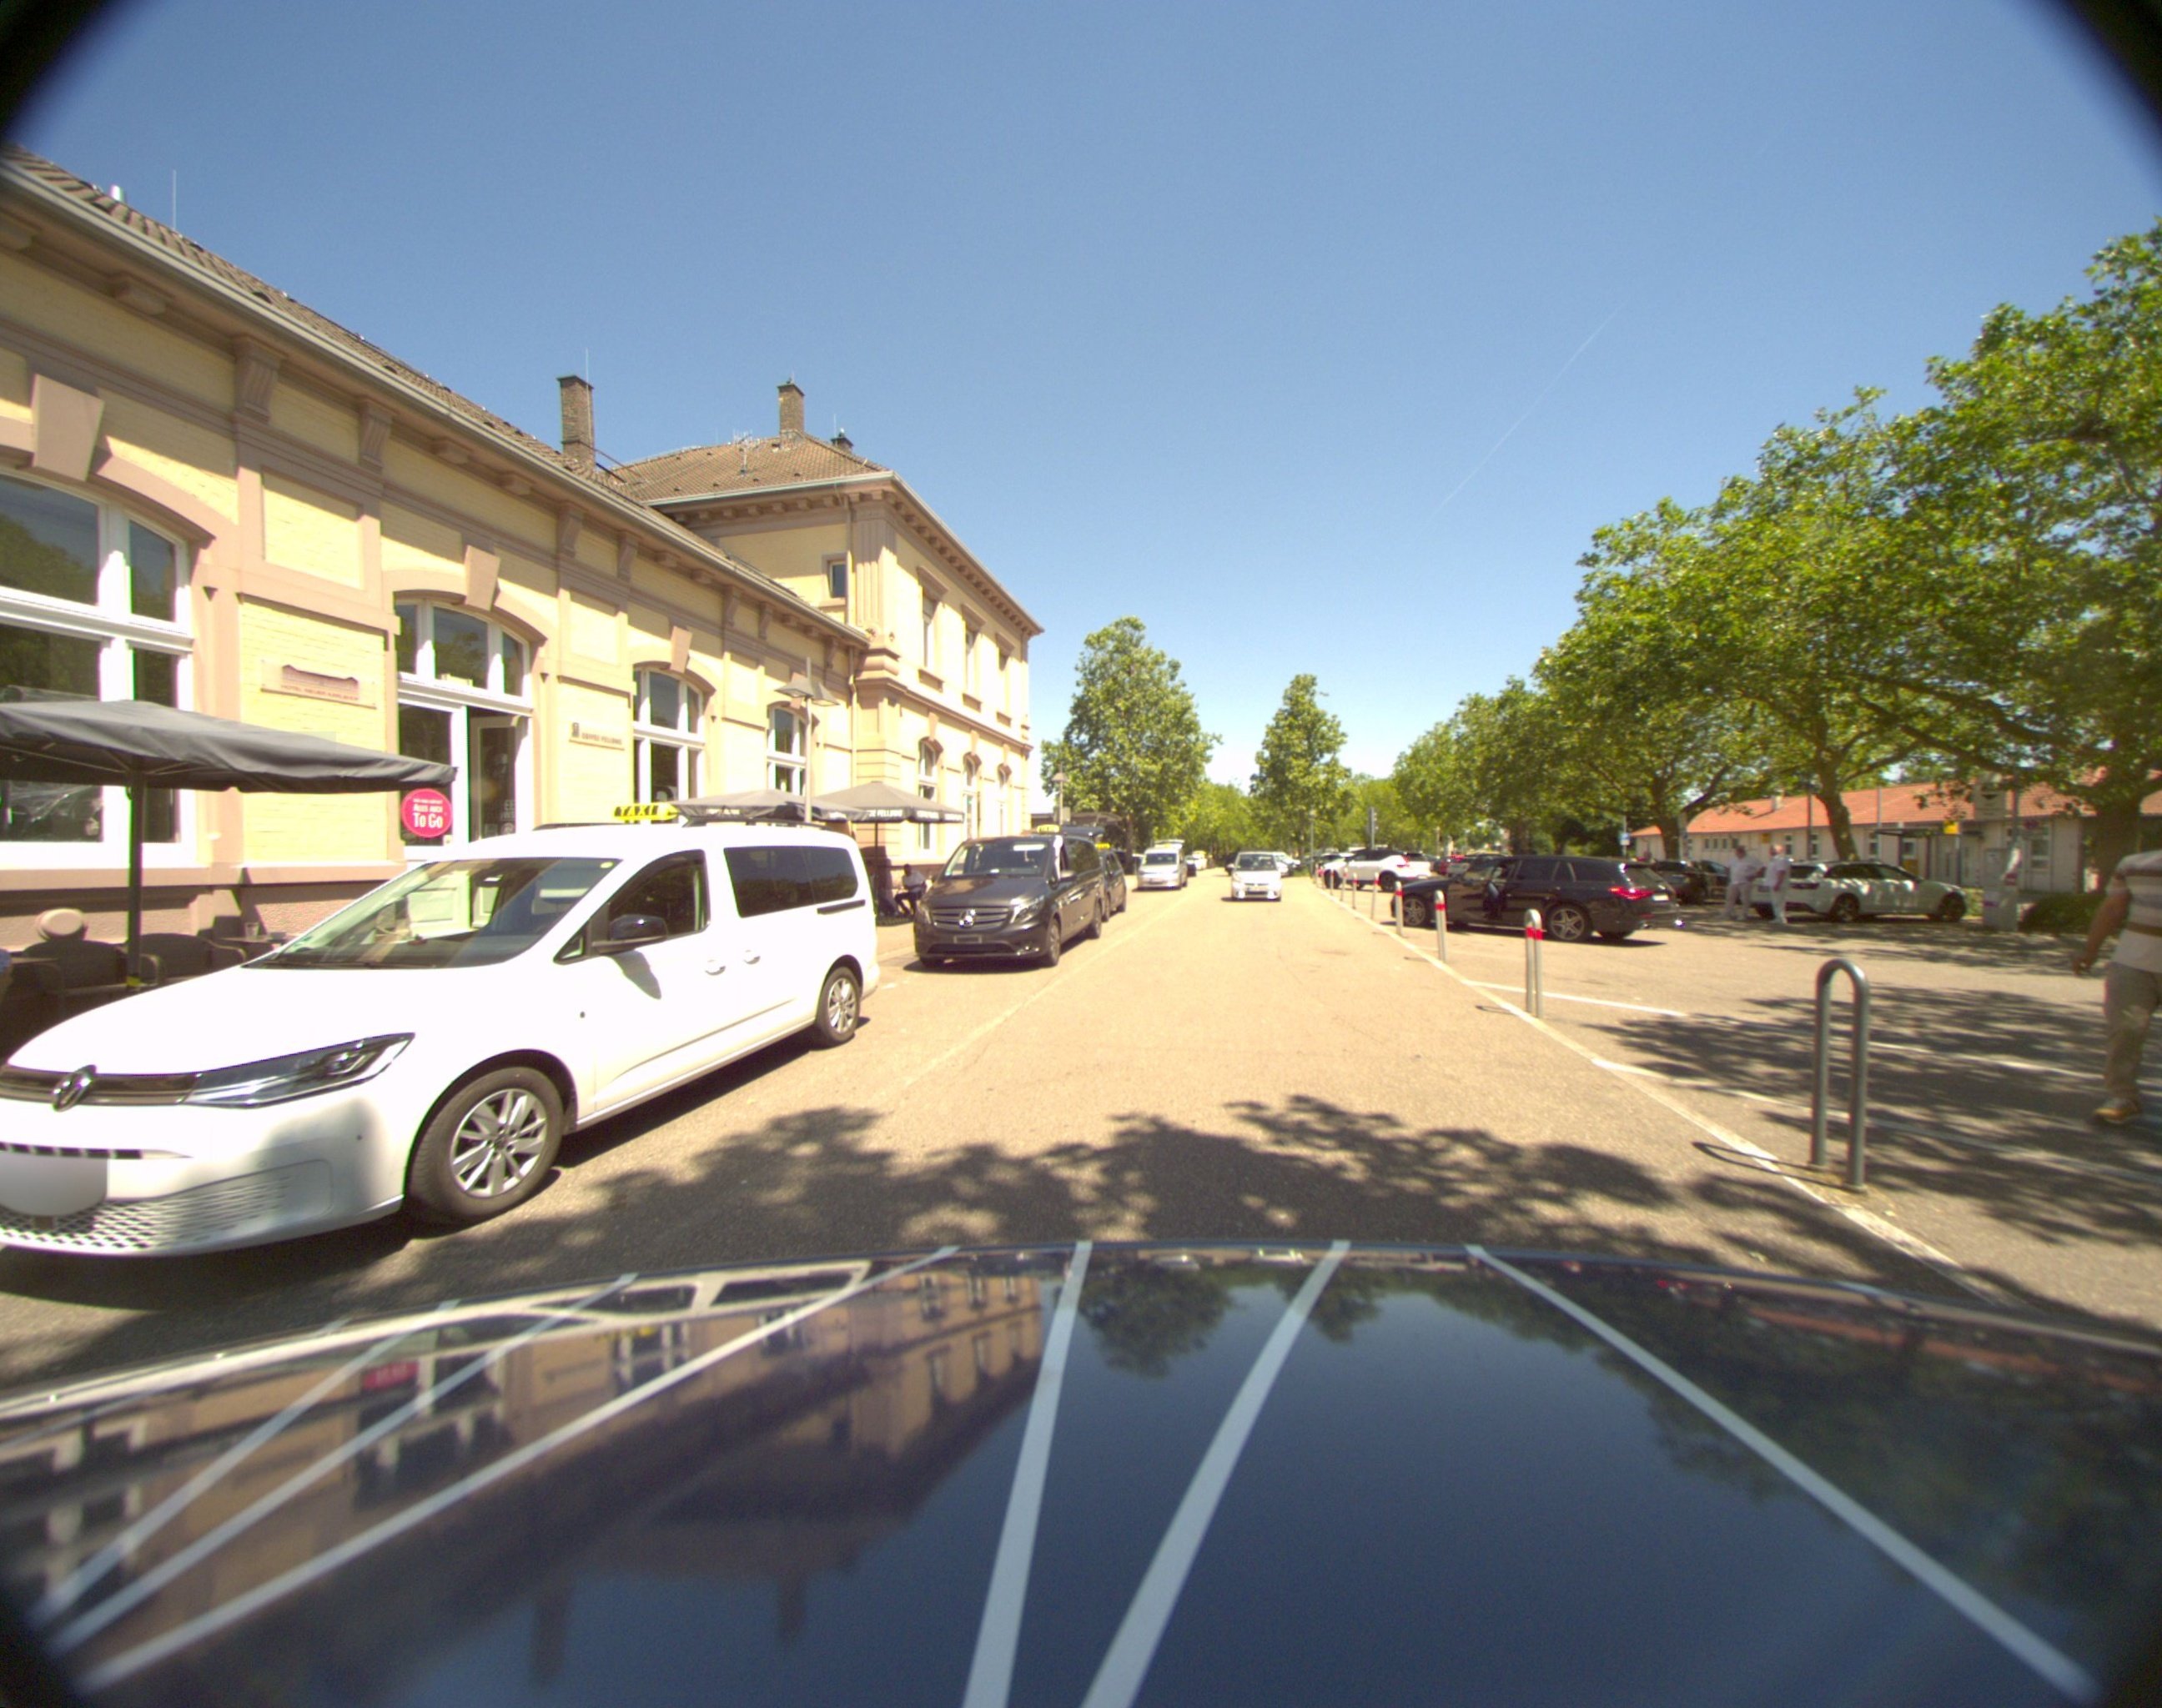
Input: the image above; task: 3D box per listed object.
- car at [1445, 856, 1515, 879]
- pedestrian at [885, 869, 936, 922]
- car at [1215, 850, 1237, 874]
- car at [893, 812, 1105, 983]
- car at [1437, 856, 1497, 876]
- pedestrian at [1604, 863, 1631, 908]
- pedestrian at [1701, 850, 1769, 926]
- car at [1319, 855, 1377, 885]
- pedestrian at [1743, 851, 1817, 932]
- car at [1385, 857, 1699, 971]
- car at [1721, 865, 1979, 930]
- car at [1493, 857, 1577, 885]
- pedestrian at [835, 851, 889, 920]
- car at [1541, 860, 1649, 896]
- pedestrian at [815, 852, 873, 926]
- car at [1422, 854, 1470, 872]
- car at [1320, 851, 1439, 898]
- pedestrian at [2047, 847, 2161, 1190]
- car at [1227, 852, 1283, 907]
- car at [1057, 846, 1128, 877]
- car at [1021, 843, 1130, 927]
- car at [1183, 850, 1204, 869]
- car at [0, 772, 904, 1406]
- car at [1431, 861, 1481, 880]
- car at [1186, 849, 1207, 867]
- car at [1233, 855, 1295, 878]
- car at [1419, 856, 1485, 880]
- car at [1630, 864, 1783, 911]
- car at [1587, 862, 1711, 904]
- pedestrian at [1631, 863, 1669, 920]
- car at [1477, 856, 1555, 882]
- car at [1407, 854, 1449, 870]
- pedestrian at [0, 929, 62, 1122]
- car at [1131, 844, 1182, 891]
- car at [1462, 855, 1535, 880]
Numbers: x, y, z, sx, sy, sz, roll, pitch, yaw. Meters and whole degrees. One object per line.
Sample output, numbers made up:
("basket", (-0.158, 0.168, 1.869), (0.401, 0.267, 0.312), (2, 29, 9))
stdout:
("car", (25.463, 0.839, 48.520), (3.879, 1.452, 1.634), (0, 1, -15))
("pedestrian", (-3.966, 0.949, 17.728), (0.850, 1.158, 0.882), (2, 1, 12))
("car", (10.329, 0.544, 54.155), (1.455, 1.660, 3.109), (0, 1, 11))
("car", (-0.954, 0.568, 12.413), (2.091, 2.111, 5.829), (-1, 0, 8))
("car", (28.850, 0.870, 56.782), (3.879, 1.439, 1.634), (0, 1, -15))
("pedestrian", (17.634, 1.019, 24.960), (0.689, 1.416, 0.803), (1, 1, 36))
("pedestrian", (15.521, 0.796, 18.051), (0.839, 1.760, 0.851), (0, 1, -6))
("car", (17.276, 0.993, 49.341), (1.739, 1.883, 3.996), (0, 0, -11))
("pedestrian", (15.641, 0.810, 17.020), (0.839, 1.760, 0.851), (0, 1, -8))
("car", (8.101, 0.915, 13.828), (1.804, 1.534, 4.517), (-2, 3, -34))
("car", (18.382, 0.989, 18.270), (4.777, 1.409, 1.785), (0, 1, -6))
("car", (24.444, 0.875, 40.914), (3.879, 1.452, 1.634), (0, 1, -15))
("pedestrian", (-5.081, 0.717, 17.661), (0.880, 1.534, 0.852), (2, 1, 9))
("car", (21.670, 0.972, 32.077), (3.879, 1.452, 1.634), (0, 1, -15))
("pedestrian", (-5.090, 0.733, 16.370), (0.880, 1.534, 0.852), (2, 1, 9))
("car", (29.503, 0.699, 61.440), (3.156, 1.386, 1.466), (0, 1, 7))
("car", (11.672, 0.733, 29.940), (1.804, 1.596, 4.052), (-2, 3, -32))
("pedestrian", (5.733, 0.818, 3.941), (0.775, 1.707, 0.813), (-1, 1, -34))
("car", (5.443, 0.725, 23.828), (1.599, 1.584, 3.109), (0, 1, 12))
("car", (0.899, 0.566, 56.579), (4.957, 2.108, 2.053), (-2, 1, 11))
("car", (0.028, 0.706, 19.220), (2.078, 1.829, 4.844), (-1, 0, 8))
("car", (11.319, 0.526, 76.727), (2.049, 1.829, 4.967), (-2, 0, 8))
("car", (-3.068, 0.714, 4.911), (1.812, 1.854, 5.143), (-1, 0, 10))
("car", (29.060, 1.269, 58.981), (3.156, 1.386, 1.466), (0, 1, 7))
("car", (12.622, 0.388, 83.264), (2.049, 1.829, 4.967), (-2, 0, 8))
("car", (11.602, 0.776, 48.405), (1.807, 1.395, 3.503), (0, 0, -37))
("car", (25.096, 0.949, 51.428), (3.879, 1.566, 1.634), (0, 1, -15))
("car", (20.193, 1.044, 24.575), (4.030, 1.397, 1.875), (0, 1, -17))
("car", (21.063, 1.047, 28.209), (3.879, 1.452, 1.634), (0, 1, -15))
("pedestrian", (15.703, 1.024, 20.970), (0.589, 1.539, 0.611), (1, 1, 9))
("car", (25.106, 0.828, 43.858), (3.879, 1.452, 1.634), (0, 1, -15))
("car", (31.430, 0.719, 68.940), (3.156, 1.386, 1.466), (0, 1, 7))
("pedestrian", (-7.190, 1.083, 4.631), (0.880, 1.155, 0.852), (2, 1, 9))
("car", (3.392, 0.530, 33.198), (2.002, 1.829, 5.321), (-2, 0, 8))
("car", (25.370, 0.786, 46.188), (3.879, 1.452, 1.634), (0, 1, -15))
